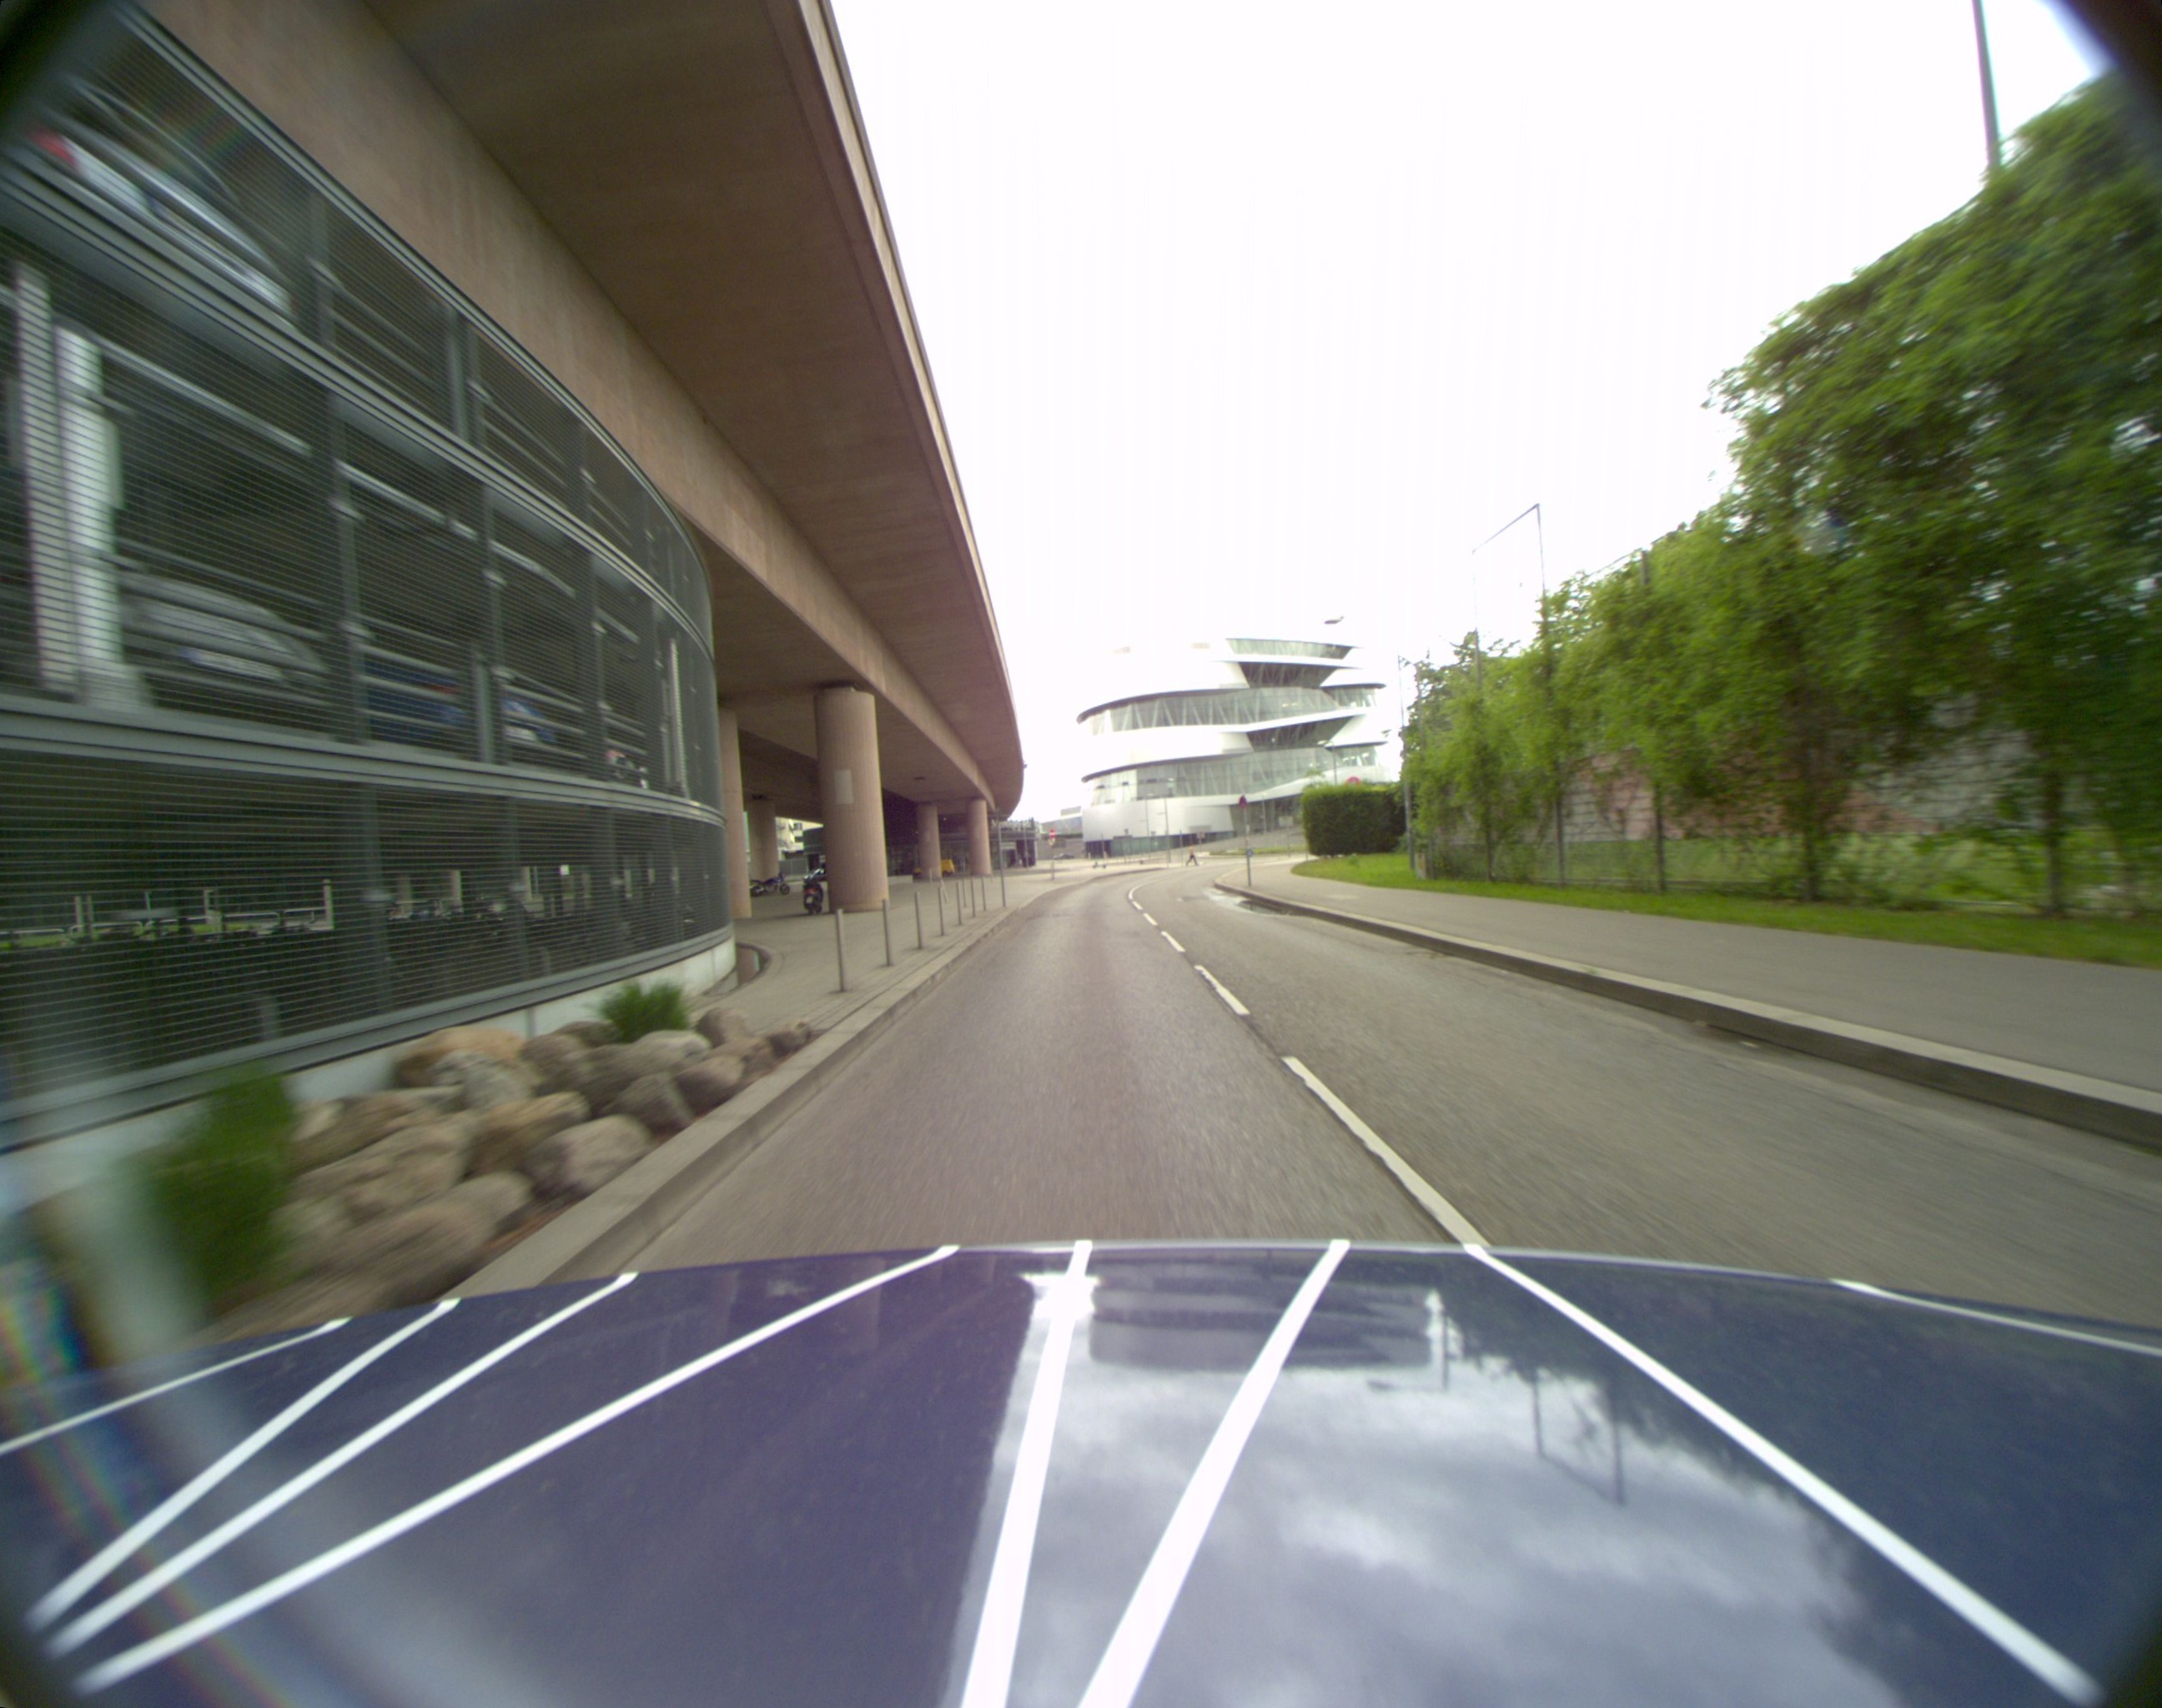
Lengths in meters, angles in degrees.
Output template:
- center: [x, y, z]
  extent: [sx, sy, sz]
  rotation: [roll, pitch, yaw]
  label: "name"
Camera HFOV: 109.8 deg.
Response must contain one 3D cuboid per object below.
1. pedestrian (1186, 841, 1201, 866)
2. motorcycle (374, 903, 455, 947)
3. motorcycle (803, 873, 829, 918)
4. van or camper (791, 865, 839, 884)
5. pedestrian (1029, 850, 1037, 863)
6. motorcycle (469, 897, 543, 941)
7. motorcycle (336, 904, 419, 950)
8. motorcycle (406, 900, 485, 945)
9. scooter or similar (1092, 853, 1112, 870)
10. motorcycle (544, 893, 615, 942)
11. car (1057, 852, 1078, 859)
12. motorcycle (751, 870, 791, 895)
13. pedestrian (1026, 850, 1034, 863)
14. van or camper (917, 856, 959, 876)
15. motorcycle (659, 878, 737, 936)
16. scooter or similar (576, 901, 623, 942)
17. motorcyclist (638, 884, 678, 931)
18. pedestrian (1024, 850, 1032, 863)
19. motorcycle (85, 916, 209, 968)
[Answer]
- center: [9.175, -0.022, 61.882]
  extent: [1.038, 2.001, 0.785]
  rotation: [-4, 0, 8]
  label: "pedestrian"
- center: [-21.379, 2.262, 24.438]
  extent: [0.673, 1.212, 2.079]
  rotation: [-3, -1, 1]
  label: "motorcycle"
- center: [-8.868, 1.371, 25.477]
  extent: [0.644, 1.446, 1.761]
  rotation: [-3, -1, -15]
  label: "motorcycle"
- center: [-29.718, 2.299, 85.006]
  extent: [4.905, 1.881, 2.151]
  rotation: [-3, -1, -19]
  label: "van or camper"
- center: [-6.569, 0.374, 103.725]
  extent: [0.773, 1.695, 0.786]
  rotation: [-3, 0, -20]
  label: "pedestrian"
- center: [-18.114, 2.024, 23.994]
  extent: [0.673, 1.212, 2.079]
  rotation: [-3, -1, 1]
  label: "motorcycle"
- center: [-22.673, 2.317, 24.549]
  extent: [0.673, 1.278, 2.079]
  rotation: [-3, -1, 1]
  label: "motorcycle"
- center: [-20.201, 2.153, 24.209]
  extent: [0.673, 1.212, 2.079]
  rotation: [-3, -1, 1]
  label: "motorcycle"
- center: [1.843, 0.646, 66.058]
  extent: [1.648, 1.288, 0.518]
  rotation: [-4, -1, -1]
  label: "scooter or similar"
- center: [-15.608, 1.944, 23.725]
  extent: [0.607, 1.295, 2.130]
  rotation: [-4, 0, 4]
  label: "motorcycle"
- center: [-3.395, 0.449, 189.783]
  extent: [4.907, 1.390, 1.534]
  rotation: [-3, -1, -9]
  label: "car"
- center: [-16.882, 1.558, 41.464]
  extent: [1.943, 1.257, 0.547]
  rotation: [-3, 0, -21]
  label: "motorcycle"
- center: [-6.929, 0.353, 102.677]
  extent: [0.773, 1.695, 0.864]
  rotation: [-3, 0, -20]
  label: "pedestrian"
- center: [-16.606, 1.352, 88.583]
  extent: [4.503, 1.988, 2.360]
  rotation: [-3, 2, -5]
  label: "van or camper"
- center: [-10.798, 1.469, 21.520]
  extent: [0.630, 1.411, 2.171]
  rotation: [-3, 1, 14]
  label: "motorcycle"
- center: [-14.675, 2.042, 23.166]
  extent: [0.399, 1.127, 1.252]
  rotation: [-4, -1, 12]
  label: "scooter or similar"
- center: [-13.602, 1.696, 24.432]
  extent: [0.764, 1.411, 0.869]
  rotation: [-3, 0, -6]
  label: "motorcyclist"
- center: [-7.312, 0.361, 104.418]
  extent: [0.783, 1.787, 0.864]
  rotation: [-3, 0, -18]
  label: "pedestrian"
- center: [-27.679, 2.569, 22.599]
  extent: [0.673, 1.268, 2.364]
  rotation: [-3, -1, 1]
  label: "motorcycle"
